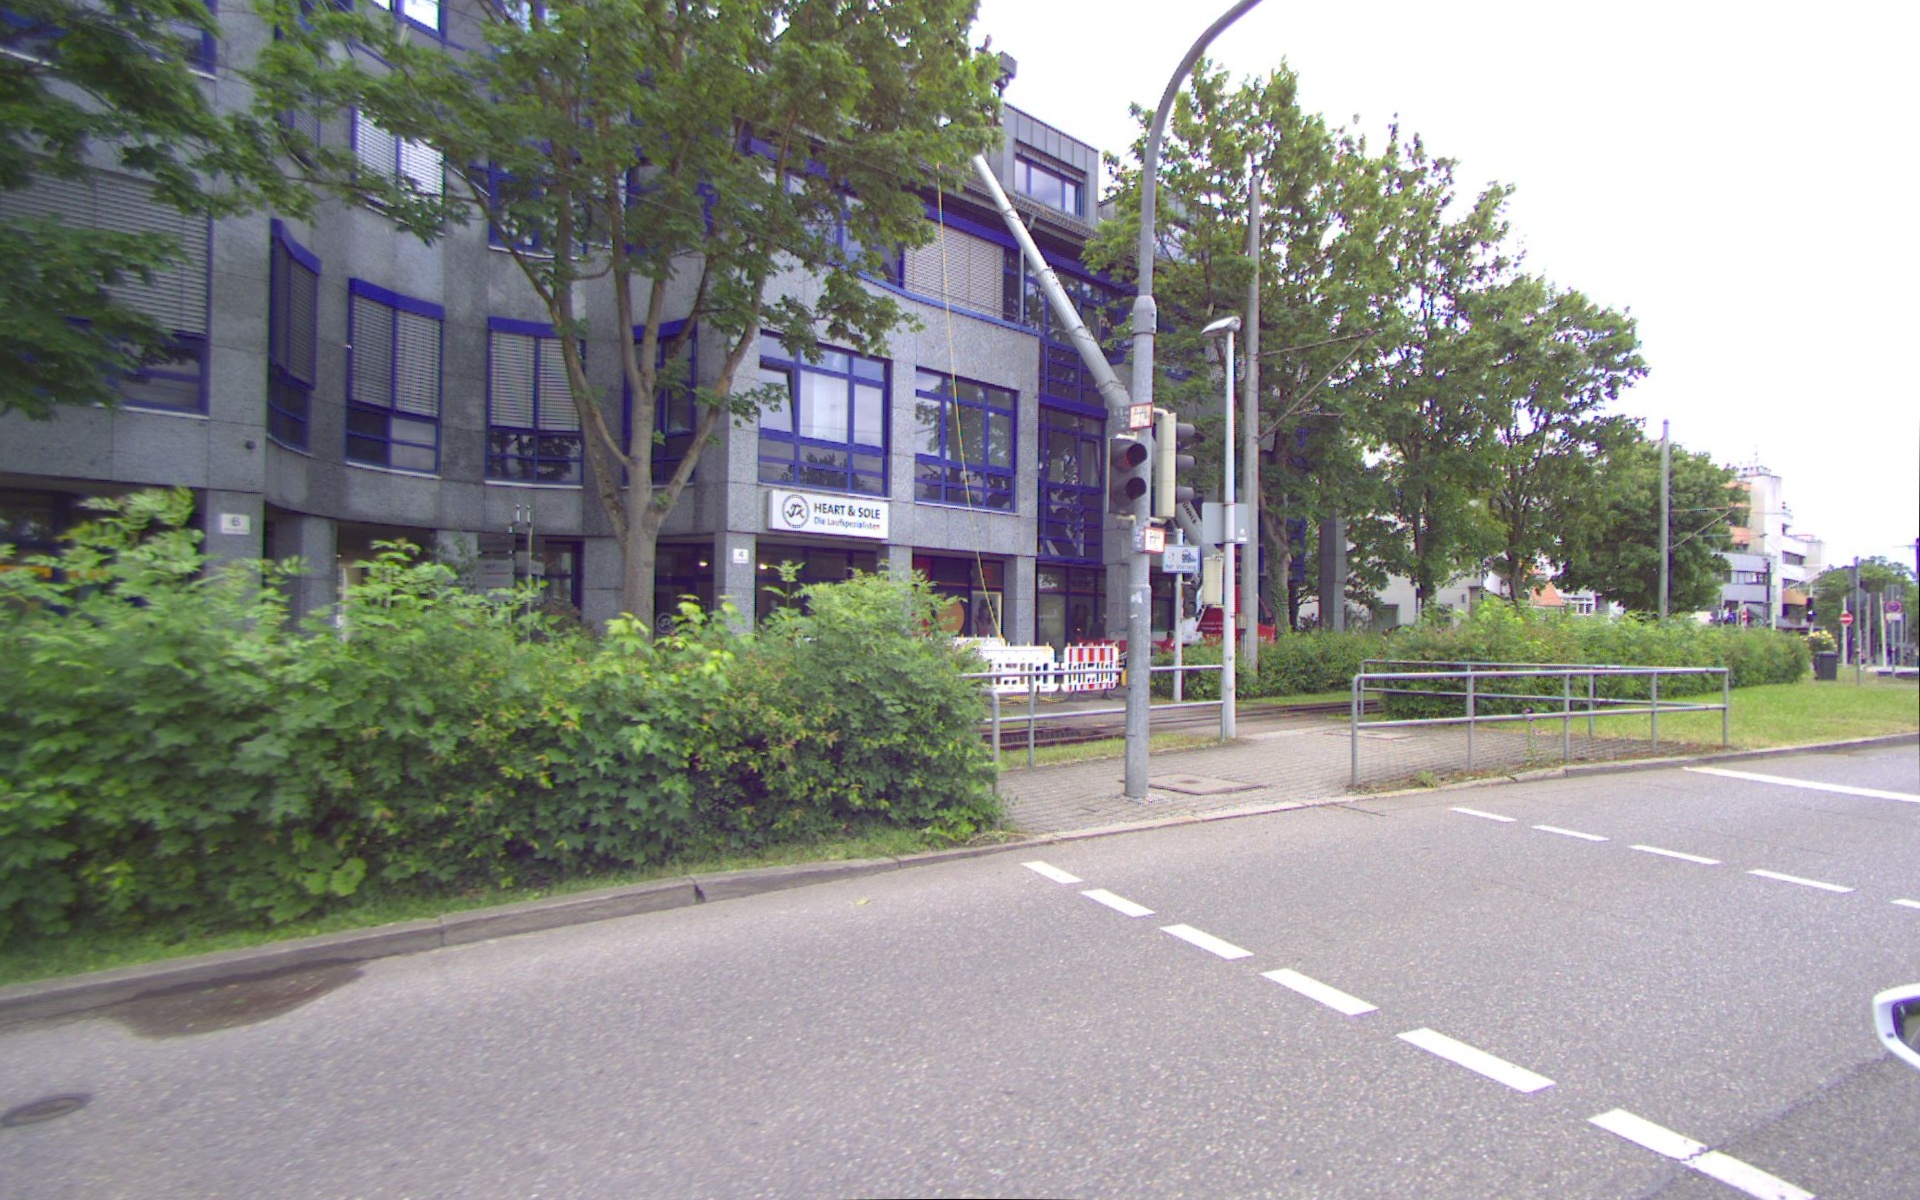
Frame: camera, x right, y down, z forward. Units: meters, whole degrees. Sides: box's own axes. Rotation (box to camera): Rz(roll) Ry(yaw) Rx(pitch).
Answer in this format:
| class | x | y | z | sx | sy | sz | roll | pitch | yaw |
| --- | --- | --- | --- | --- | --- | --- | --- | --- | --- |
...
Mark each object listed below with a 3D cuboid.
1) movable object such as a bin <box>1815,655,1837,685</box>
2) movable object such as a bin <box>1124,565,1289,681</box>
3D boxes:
| class | x | y | z | sx | sy | sz | roll | pitch | yaw |
| --- | --- | --- | --- | --- | --- | --- | --- | --- | --- |
| movable object such as a bin | 31.042 | 2.501 | 36.014 | 0.557 | 1.026 | 0.835 | 0 | -1 | 39 |
| movable object such as a bin | 6.105 | 0.533 | 24.629 | 4.097 | 2.565 | 1.887 | 2 | 1 | -42 |
